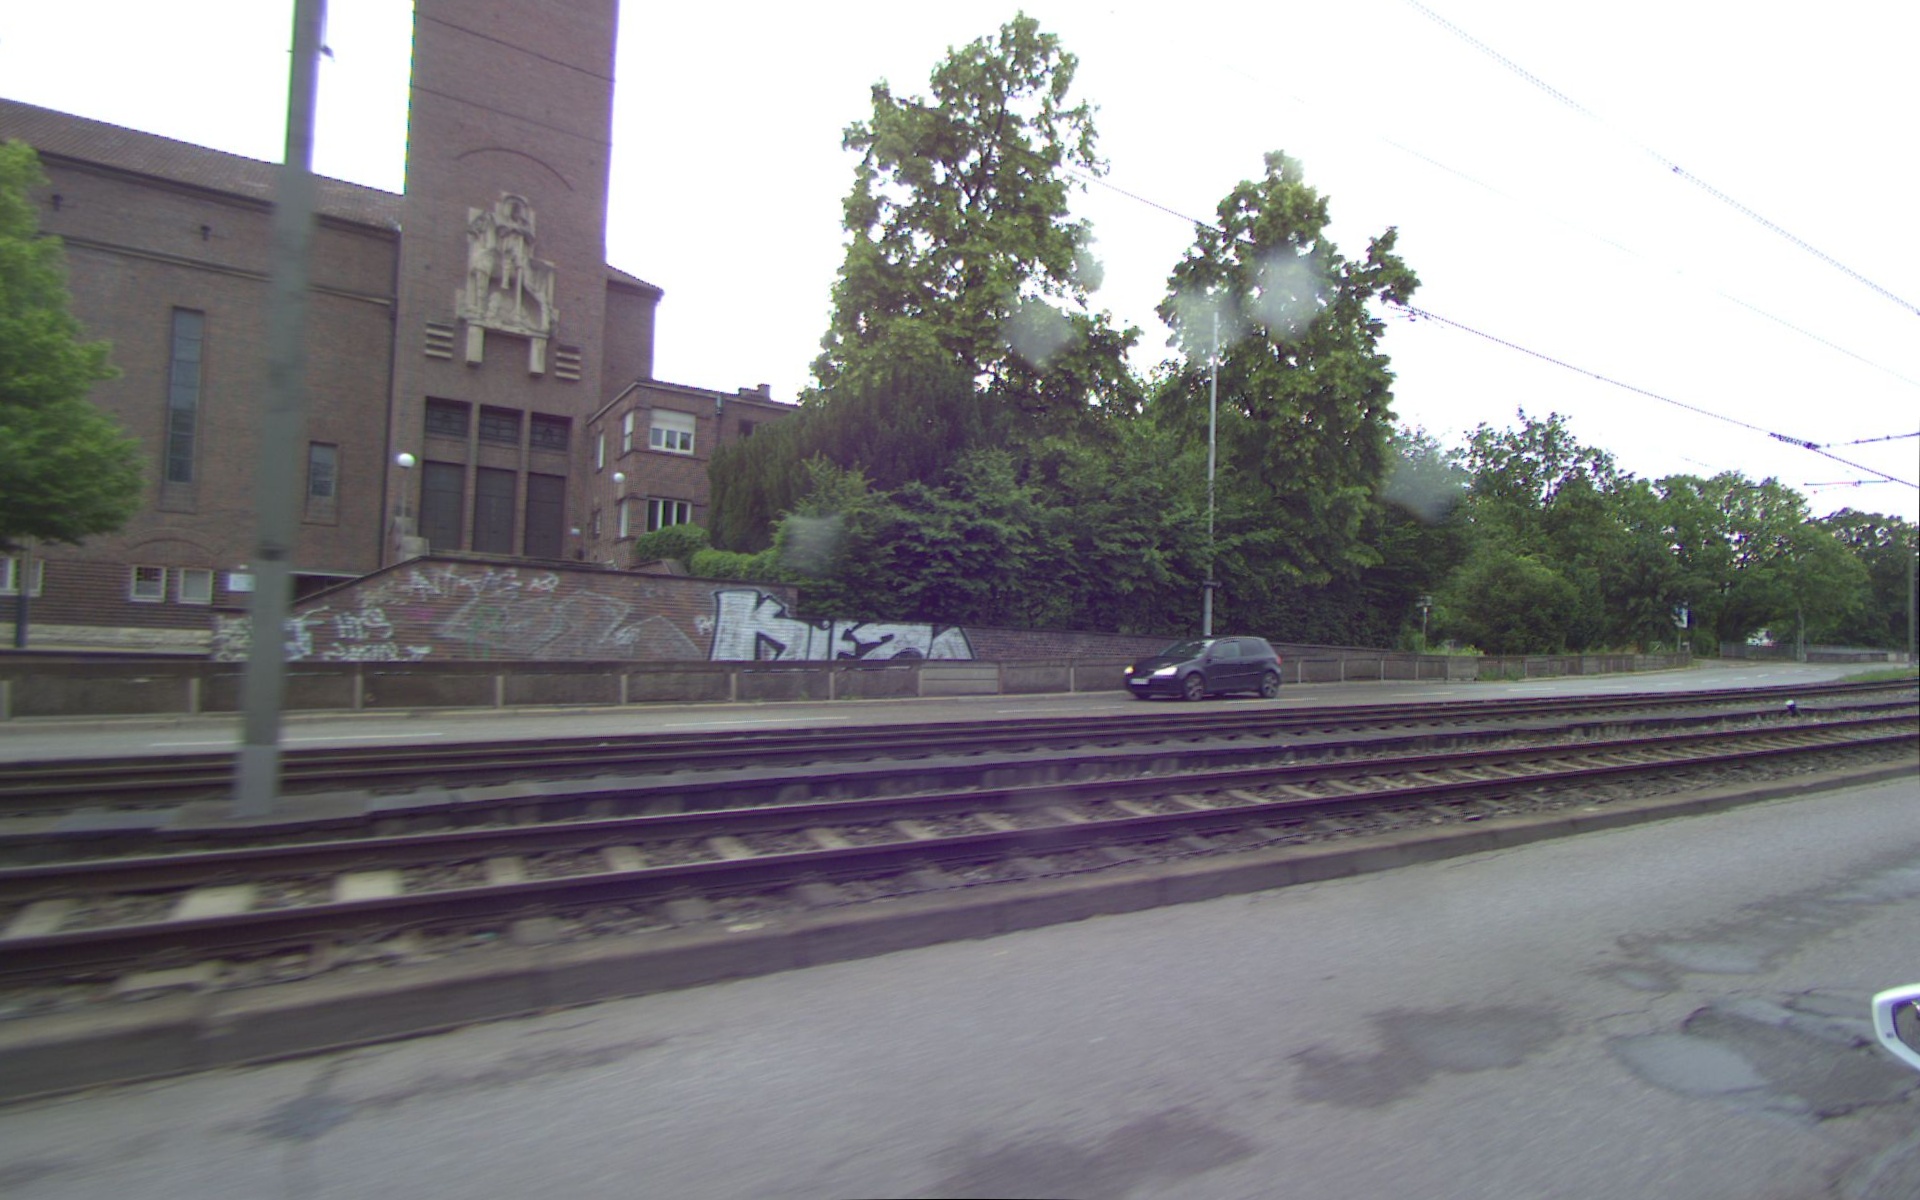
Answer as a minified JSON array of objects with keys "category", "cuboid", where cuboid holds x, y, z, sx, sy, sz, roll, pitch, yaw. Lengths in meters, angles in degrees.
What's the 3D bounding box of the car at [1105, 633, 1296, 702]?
[{"category":"car","cuboid":[5.598,1.552,23.243,4.277,1.460,1.954,3,-4,-34]}]
